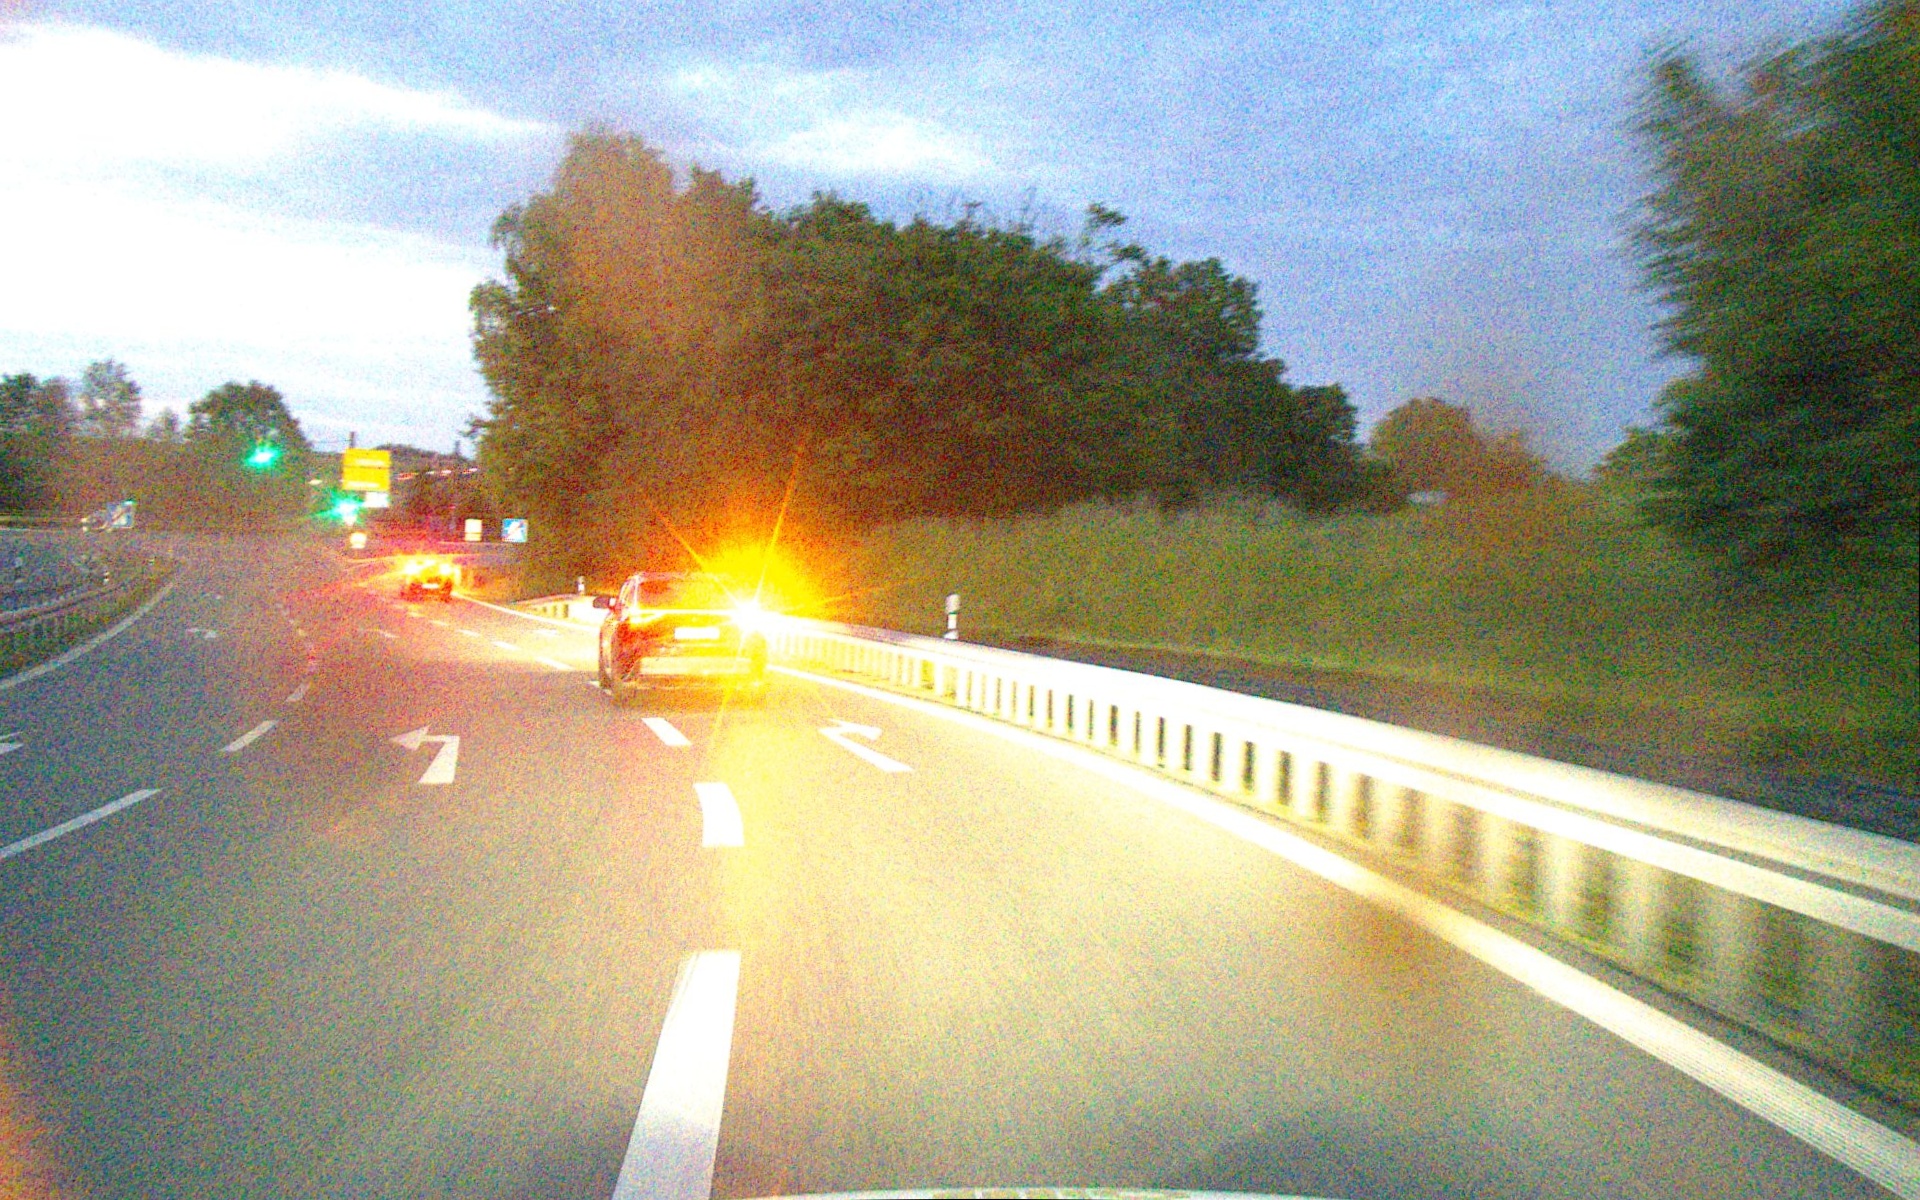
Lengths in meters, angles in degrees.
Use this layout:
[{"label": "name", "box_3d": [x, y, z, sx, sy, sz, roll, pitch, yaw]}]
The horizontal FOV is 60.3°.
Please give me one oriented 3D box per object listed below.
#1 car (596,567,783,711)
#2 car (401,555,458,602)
[{"label": "car", "box_3d": [-3.600, 0.409, 21.320, 1.870, 1.648, 4.536, 0, 1, -16]}, {"label": "car", "box_3d": [-20.124, -0.783, 62.697, 1.756, 1.682, 3.973, 2, -1, -22]}]
